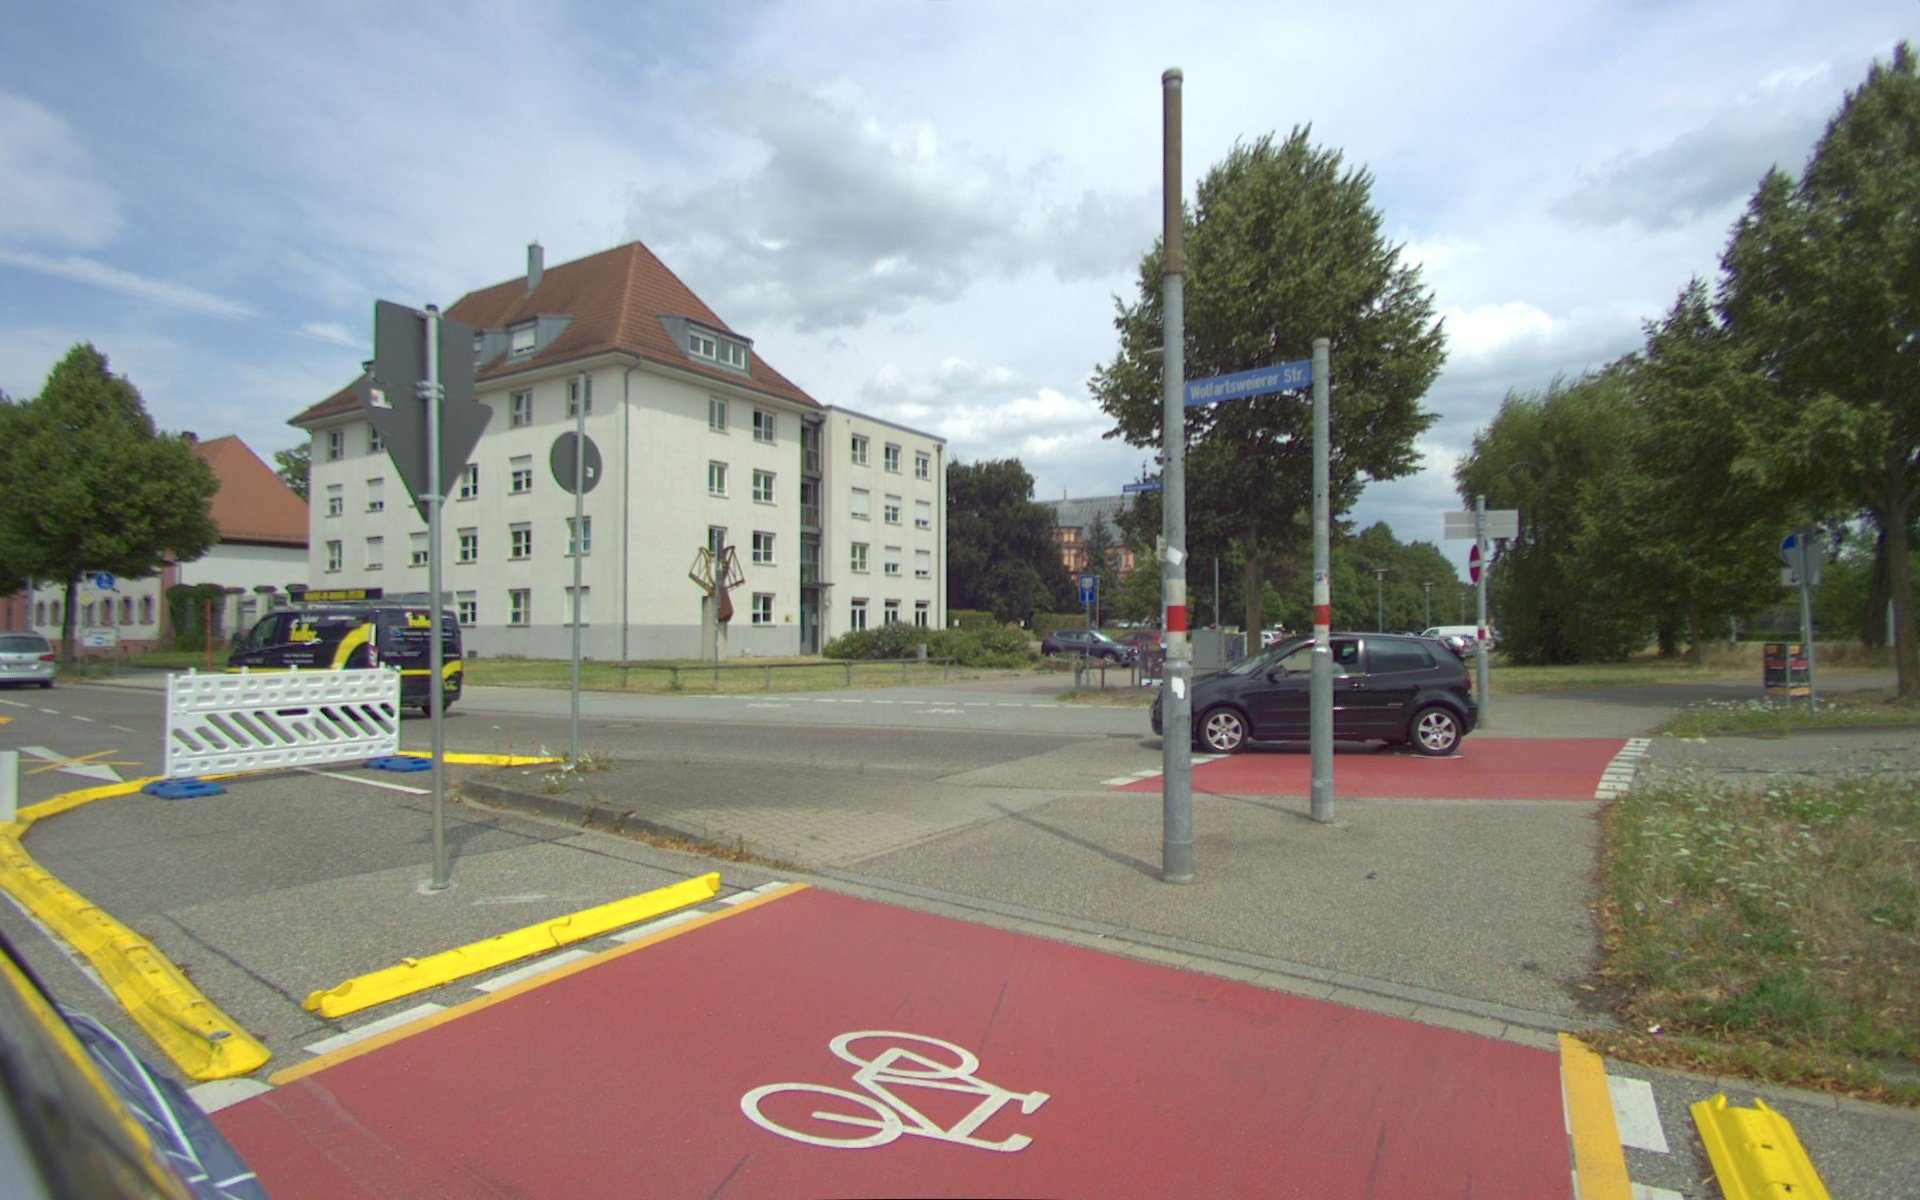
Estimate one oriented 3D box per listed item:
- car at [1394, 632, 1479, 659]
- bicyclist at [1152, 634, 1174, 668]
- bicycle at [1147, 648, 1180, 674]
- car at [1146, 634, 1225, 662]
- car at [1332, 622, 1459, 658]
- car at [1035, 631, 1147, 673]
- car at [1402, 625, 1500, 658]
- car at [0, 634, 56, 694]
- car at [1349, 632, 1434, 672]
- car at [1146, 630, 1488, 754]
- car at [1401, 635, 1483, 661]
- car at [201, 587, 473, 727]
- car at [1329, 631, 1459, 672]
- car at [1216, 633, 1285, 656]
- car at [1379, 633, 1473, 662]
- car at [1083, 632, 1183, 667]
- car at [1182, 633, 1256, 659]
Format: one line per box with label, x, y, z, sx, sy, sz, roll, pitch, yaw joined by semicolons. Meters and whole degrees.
car;27.739;2.626;58.907;4.298;1.482;1.813;-1;-2;33
bicyclist;8.669;2.170;43.217;0.601;1.434;0.793;-2;-3;39
bicycle;8.697;2.587;43.221;0.601;1.054;1.805;-2;-3;39
car;12.459;2.656;55.974;3.993;1.479;1.598;-1;-2;31
car;18.987;1.739;44.168;4.873;1.482;1.813;-1;-2;33
car;5.749;2.251;44.516;4.484;1.778;1.979;-1;-2;31
car;31.696;2.663;65.399;5.548;2.072;2.178;-1;-2;30
car;-28.042;1.814;29.146;4.733;1.635;1.782;-2;-2;33
car;16.778;2.042;39.350;2.900;1.434;1.471;-4;-4;26
car;4.293;1.125;12.654;3.674;1.426;1.630;0;-3;4
car;29.085;2.890;61.123;4.298;1.482;1.813;-1;-2;33
car;-11.564;1.022;18.707;5.136;2.290;1.981;-2;-2;28
car;17.834;2.141;41.649;4.687;1.482;1.815;-4;-3;30
car;19.048;2.888;66.389;3.993;1.479;1.798;-1;-2;31
car;25.080;2.544;54.492;4.373;1.482;1.813;-1;-2;33
car;8.403;2.373;49.271;4.394;1.610;1.977;-2;-2;33
car;15.622;2.772;61.012;3.993;1.479;1.798;-1;-2;31
